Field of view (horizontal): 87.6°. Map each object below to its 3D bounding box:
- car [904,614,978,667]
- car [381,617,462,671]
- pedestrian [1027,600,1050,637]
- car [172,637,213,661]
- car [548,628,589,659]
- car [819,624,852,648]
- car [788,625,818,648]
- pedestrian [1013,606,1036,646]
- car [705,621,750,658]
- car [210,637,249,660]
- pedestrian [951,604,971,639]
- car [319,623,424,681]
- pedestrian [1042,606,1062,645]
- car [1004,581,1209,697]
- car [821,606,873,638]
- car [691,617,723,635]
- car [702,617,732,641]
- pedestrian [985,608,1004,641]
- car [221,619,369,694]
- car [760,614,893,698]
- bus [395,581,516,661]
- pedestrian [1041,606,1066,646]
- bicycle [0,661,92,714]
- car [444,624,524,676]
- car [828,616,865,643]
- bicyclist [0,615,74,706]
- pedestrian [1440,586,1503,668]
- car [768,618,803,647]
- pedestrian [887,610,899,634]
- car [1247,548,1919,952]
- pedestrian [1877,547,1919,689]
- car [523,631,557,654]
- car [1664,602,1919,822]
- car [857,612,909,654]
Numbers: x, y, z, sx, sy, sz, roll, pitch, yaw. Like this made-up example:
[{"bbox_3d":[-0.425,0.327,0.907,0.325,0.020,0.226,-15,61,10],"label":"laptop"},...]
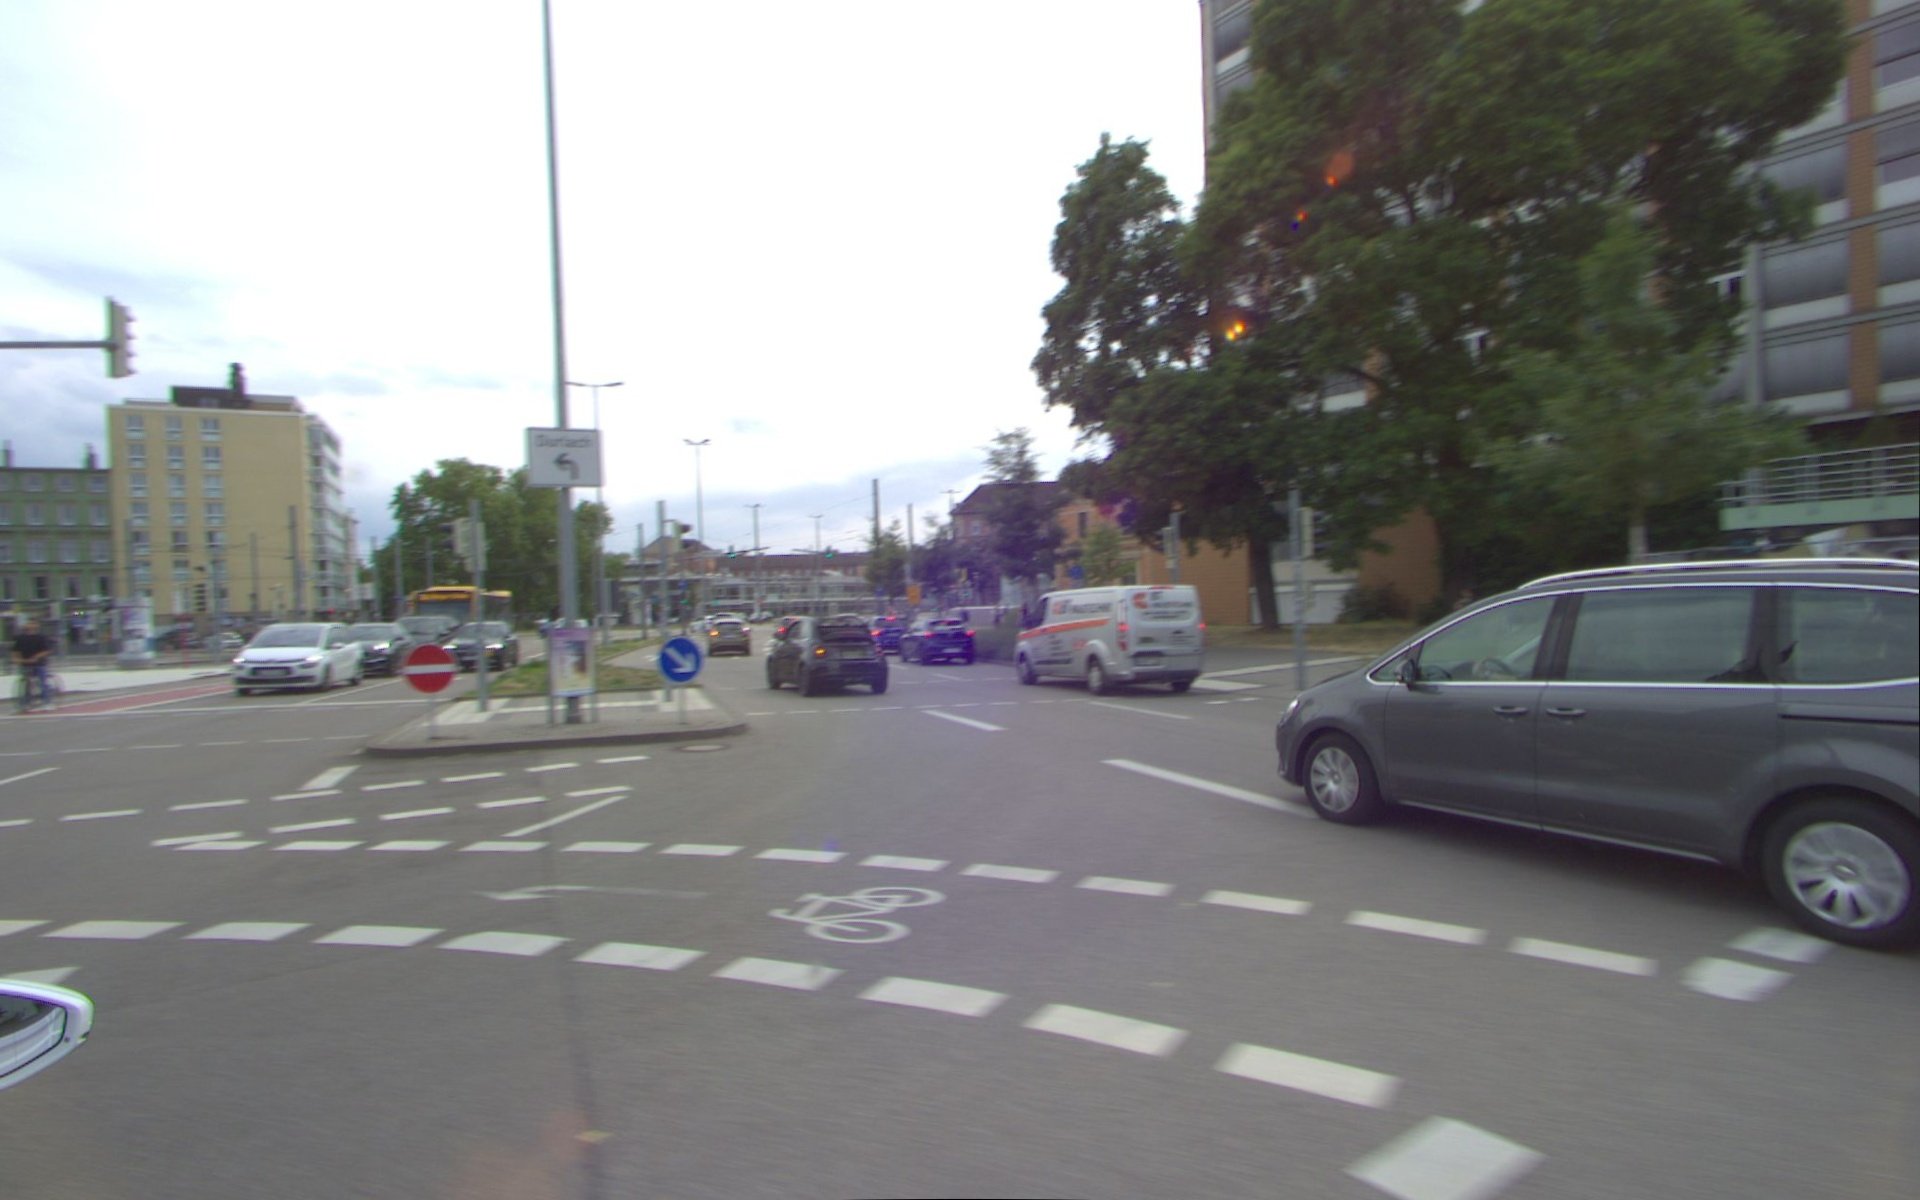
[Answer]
[{"bbox_3d":[-0.657,1.254,31.319,1.640,1.527,3.632,0,-2,-12],"label":"car"},{"bbox_3d":[-20.048,1.627,37.468,1.965,1.922,4.282,0,-2,-19],"label":"car"},{"bbox_3d":[3.479,0.820,44.485,0.765,1.594,0.812,-3,0,-7],"label":"pedestrian"},{"bbox_3d":[-68.362,4.329,89.251,1.968,2.039,3.988,0,-2,-24],"label":"car"},{"bbox_3d":[-21.967,2.409,56.321,1.965,1.672,4.504,0,-2,-19],"label":"car"},{"bbox_3d":[-7.826,2.283,62.914,1.678,1.438,3.698,0,-2,-13],"label":"car"},{"bbox_3d":[-10.093,2.338,64.201,1.685,1.438,3.997,0,-2,-13],"label":"car"},{"bbox_3d":[2.695,1.089,41.920,0.765,1.594,0.812,-3,0,-7],"label":"pedestrian"},{"bbox_3d":[-9.214,1.572,39.910,1.669,1.422,3.698,0,-2,-12],"label":"car"},{"bbox_3d":[-66.060,4.364,90.595,1.968,2.039,3.988,0,-2,-24],"label":"car"},{"bbox_3d":[0.060,1.002,46.732,0.765,1.594,0.812,-3,0,-7],"label":"pedestrian"},{"bbox_3d":[-18.223,1.585,31.207,1.965,1.672,4.282,0,-2,-19],"label":"car"},{"bbox_3d":[3.815,1.053,41.356,0.543,1.556,0.545,-3,0,37],"label":"pedestrian"},{"bbox_3d":[2.702,0.768,19.931,1.794,1.984,5.194,0,-2,-20],"label":"car"},{"bbox_3d":[-5.458,1.077,48.064,2.100,1.438,3.698,0,-2,-13],"label":"car"},{"bbox_3d":[-21.507,2.229,85.028,1.691,1.438,3.983,1,-2,-28],"label":"car"},{"bbox_3d":[-16.988,2.059,70.130,1.806,1.635,3.545,0,-2,-10],"label":"car"},{"bbox_3d":[1.720,1.194,49.584,0.765,1.594,0.812,-3,0,-7],"label":"pedestrian"},{"bbox_3d":[-16.093,1.331,24.488,1.965,1.672,4.282,0,-2,-19],"label":"car"},{"bbox_3d":[-2.754,1.084,20.124,1.646,1.508,3.428,0,-2,-26],"label":"car"},{"bbox_3d":[-23.500,1.097,47.415,3.103,3.296,12.395,0,-2,-17],"label":"bus"},{"bbox_3d":[3.866,1.074,41.449,0.765,1.594,0.812,-3,0,-7],"label":"pedestrian"},{"bbox_3d":[-17.693,1.648,19.200,0.851,0.888,2.511,0,-2,-23],"label":"bicycle"},{"bbox_3d":[-16.294,1.692,34.469,1.965,1.672,4.504,0,-2,-19],"label":"car"},{"bbox_3d":[-6.381,1.645,55.969,1.678,1.438,3.698,0,-2,-13],"label":"car"},{"bbox_3d":[-17.661,1.143,19.137,0.855,1.690,0.878,0,-1,-24],"label":"bicyclist"},{"bbox_3d":[10.378,0.542,20.326,0.769,1.594,0.808,-3,0,-30],"label":"pedestrian"},{"bbox_3d":[-9.016,1.693,51.626,1.684,1.438,3.998,0,-2,-11],"label":"car"},{"bbox_3d":[-4.735,1.545,70.812,0.765,1.594,0.812,-3,0,-7],"label":"pedestrian"},{"bbox_3d":[4.023,0.687,5.982,1.734,1.671,4.667,0,-2,-27],"label":"car"},{"bbox_3d":[12.888,0.232,13.404,0.631,1.876,0.705,-2,0,-30],"label":"pedestrian"},{"bbox_3d":[-30.931,3.132,73.791,1.965,1.672,4.504,0,-2,-19],"label":"car"},{"bbox_3d":[7.619,0.748,6.641,1.798,1.493,4.510,1,-2,-27],"label":"car"},{"bbox_3d":[-2.988,1.308,39.453,1.827,1.552,4.004,0,-2,-2],"label":"car"}]
